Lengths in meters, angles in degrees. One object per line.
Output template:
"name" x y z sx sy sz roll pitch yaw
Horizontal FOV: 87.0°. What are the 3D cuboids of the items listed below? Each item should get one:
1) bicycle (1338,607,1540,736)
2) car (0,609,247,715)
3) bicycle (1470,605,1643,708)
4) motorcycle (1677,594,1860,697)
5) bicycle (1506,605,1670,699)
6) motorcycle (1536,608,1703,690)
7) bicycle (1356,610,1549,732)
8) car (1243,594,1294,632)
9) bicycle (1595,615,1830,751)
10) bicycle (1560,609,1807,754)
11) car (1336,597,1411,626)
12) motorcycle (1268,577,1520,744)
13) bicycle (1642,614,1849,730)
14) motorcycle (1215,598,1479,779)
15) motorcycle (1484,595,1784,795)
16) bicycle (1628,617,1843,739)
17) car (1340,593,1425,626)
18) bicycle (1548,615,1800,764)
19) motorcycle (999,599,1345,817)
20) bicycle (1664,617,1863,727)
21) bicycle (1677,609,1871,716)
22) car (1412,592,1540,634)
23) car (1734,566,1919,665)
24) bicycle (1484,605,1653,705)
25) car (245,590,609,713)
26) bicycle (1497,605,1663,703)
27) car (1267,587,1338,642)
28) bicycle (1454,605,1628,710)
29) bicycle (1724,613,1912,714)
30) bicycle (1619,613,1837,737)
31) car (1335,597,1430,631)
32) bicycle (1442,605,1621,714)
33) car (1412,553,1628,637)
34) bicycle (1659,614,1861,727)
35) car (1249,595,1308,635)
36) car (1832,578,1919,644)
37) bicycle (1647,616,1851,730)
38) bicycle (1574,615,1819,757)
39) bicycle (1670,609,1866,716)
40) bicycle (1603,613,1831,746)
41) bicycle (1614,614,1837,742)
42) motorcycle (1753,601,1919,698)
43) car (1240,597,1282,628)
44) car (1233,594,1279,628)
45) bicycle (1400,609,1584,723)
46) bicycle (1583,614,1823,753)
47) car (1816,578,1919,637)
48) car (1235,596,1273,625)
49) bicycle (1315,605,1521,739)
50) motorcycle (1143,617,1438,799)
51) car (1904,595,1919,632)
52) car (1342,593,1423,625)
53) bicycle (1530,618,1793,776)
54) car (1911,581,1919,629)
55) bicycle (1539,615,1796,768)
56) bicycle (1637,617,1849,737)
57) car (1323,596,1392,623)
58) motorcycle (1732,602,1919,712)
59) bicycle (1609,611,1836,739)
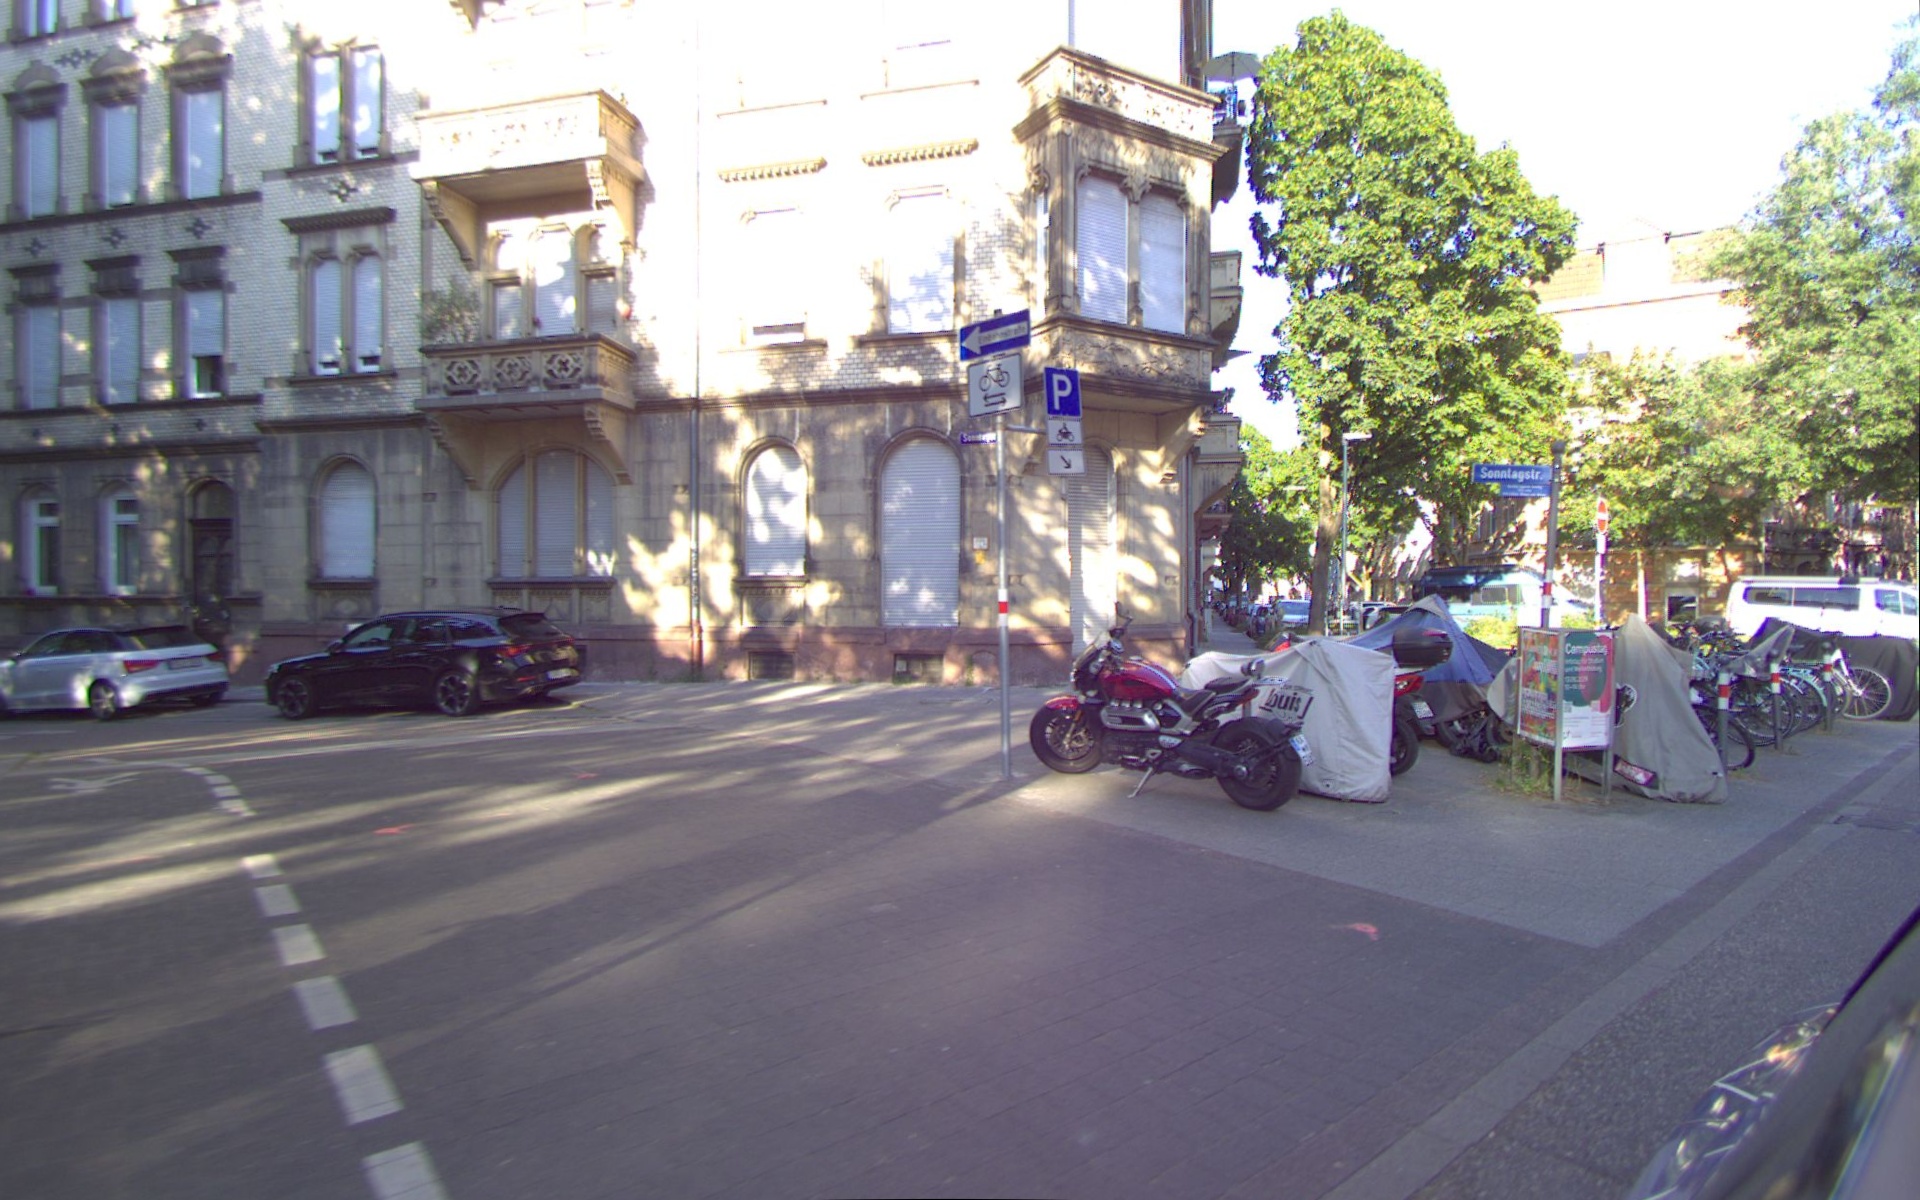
"bicycle" 5.114 0.715 10.911 1.924 1.262 0.472 0 0 45
"car" -13.770 0.974 16.154 3.943 1.394 1.765 -2 4 16
"bicycle" 7.857 0.709 13.397 1.924 1.262 0.472 0 0 45
"motorcycle" 12.038 0.630 15.129 0.682 1.379 2.027 0 1 -40
"bicycle" 9.052 0.712 14.643 1.924 1.262 0.638 0 0 44
"motorcycle" 10.295 0.723 15.854 0.888 1.122 2.026 0 2 -41
"bicycle" 5.529 0.754 11.458 1.924 1.262 0.472 0 0 45
"car" 13.788 0.532 45.418 1.838 1.602 4.229 0 0 12
"bicycle" 7.674 0.797 10.412 1.924 1.262 0.298 0 0 45
"bicycle" 6.926 0.734 9.790 1.924 1.262 0.298 0 0 45
"car" 25.707 0.688 62.970 3.978 1.742 1.757 -1 -1 38
"motorcycle" 4.423 0.553 10.465 2.283 1.551 0.744 0 0 44
"bicycle" 9.250 0.807 11.993 1.924 1.262 0.298 0 0 45
"motorcycle" 3.267 0.668 8.836 0.643 1.358 2.293 0 0 -28
"motorcycle" 5.406 0.679 8.307 0.921 1.430 1.942 0 0 -13
"bicycle" 8.778 0.844 11.530 1.924 1.262 0.298 0 0 45
"car" 23.037 0.543 55.290 3.978 1.742 1.757 -1 -1 38
"bicycle" 6.678 0.786 9.568 1.924 1.262 0.298 0 0 45
"motorcycle" 1.500 0.679 7.497 2.361 1.358 0.927 0 0 41
"bicycle" 9.975 0.856 12.626 1.924 1.262 0.298 0 0 45
"bicycle" 10.551 0.767 13.174 1.924 1.262 0.638 0 0 44
"car" 19.851 0.463 39.017 1.832 1.529 4.058 0 0 -44
"car" 20.994 0.321 23.090 2.068 2.122 4.983 0 0 -40
"bicycle" 8.239 0.710 13.769 1.924 1.262 0.472 0 0 45
"car" -7.562 0.709 14.549 4.298 1.393 1.995 -2 4 12
"bicycle" 8.612 0.711 14.132 1.924 1.262 0.472 0 0 45
"car" 10.903 0.407 32.468 1.755 1.631 4.200 1 0 14
"bicycle" 7.484 0.707 13.125 1.924 1.262 0.389 0 0 45
"bicycle" 11.328 0.801 13.417 0.436 1.141 1.821 0 2 -41
"bicycle" 8.525 0.787 11.313 1.924 1.262 0.298 0 0 45
"car" 20.442 0.657 48.987 3.973 1.585 1.759 -1 -1 35
"bicycle" 7.167 0.706 12.775 1.924 1.262 0.472 0 0 45
"car" 18.488 -0.181 33.640 5.895 2.569 2.342 1 0 44
"bicycle" 9.746 0.823 12.396 1.924 1.262 0.298 0 0 45
"car" 12.744 0.564 40.652 1.838 1.493 4.229 0 0 12
"car" 30.368 0.340 31.550 1.966 2.039 4.621 0 1 -42
"bicycle" 9.477 0.836 12.236 1.924 1.262 0.298 0 0 45
"bicycle" 7.182 0.789 9.960 1.924 1.262 0.298 0 0 45
"bicycle" 10.196 0.750 12.834 1.924 1.262 0.298 0 0 45
"bicycle" 7.904 0.787 10.653 1.906 1.262 0.298 0 0 45
"bicycle" 8.312 0.804 11.071 1.924 1.262 0.298 0 0 45
"motorcycle" 13.200 0.702 15.154 0.611 1.344 2.016 1 0 -44
"car" 16.204 0.634 54.654 1.838 1.602 4.229 0 0 12
"car" 14.510 0.489 49.846 1.838 1.602 4.229 0 0 12
"bicycle" 6.387 0.746 12.244 1.924 1.262 0.472 0 0 45
"bicycle" 7.408 0.791 10.187 1.924 1.262 0.298 0 0 45
"car" 28.240 0.207 30.154 1.769 1.713 3.993 0 1 -42
"car" 17.179 0.593 59.261 1.838 1.602 4.229 0 0 12
"bicycle" 4.726 0.696 10.558 1.924 1.262 0.445 0 0 45
"motorcycle" 2.591 0.774 8.287 0.951 1.195 2.293 0 0 -27
"car" 39.711 0.575 39.208 1.899 1.474 4.379 0 1 -39
"car" 24.092 0.526 57.772 3.978 1.742 1.757 -1 -1 38
"bicycle" 6.240 0.811 9.107 1.924 1.262 0.298 0 0 45
"car" 43.558 0.227 42.498 2.121 1.963 5.102 -4 3 -40
"bicycle" 6.459 0.786 9.340 1.924 1.262 0.298 0 0 45
"bicycle" 9.035 0.849 11.754 1.924 1.262 0.298 0 0 45
"car" 26.503 0.622 67.487 3.978 1.742 1.757 -1 -1 38
"motorcycle" 11.897 0.728 13.790 0.888 1.301 2.027 0 2 -41
"bicycle" 8.144 0.758 10.891 1.924 1.262 0.298 0 0 45
